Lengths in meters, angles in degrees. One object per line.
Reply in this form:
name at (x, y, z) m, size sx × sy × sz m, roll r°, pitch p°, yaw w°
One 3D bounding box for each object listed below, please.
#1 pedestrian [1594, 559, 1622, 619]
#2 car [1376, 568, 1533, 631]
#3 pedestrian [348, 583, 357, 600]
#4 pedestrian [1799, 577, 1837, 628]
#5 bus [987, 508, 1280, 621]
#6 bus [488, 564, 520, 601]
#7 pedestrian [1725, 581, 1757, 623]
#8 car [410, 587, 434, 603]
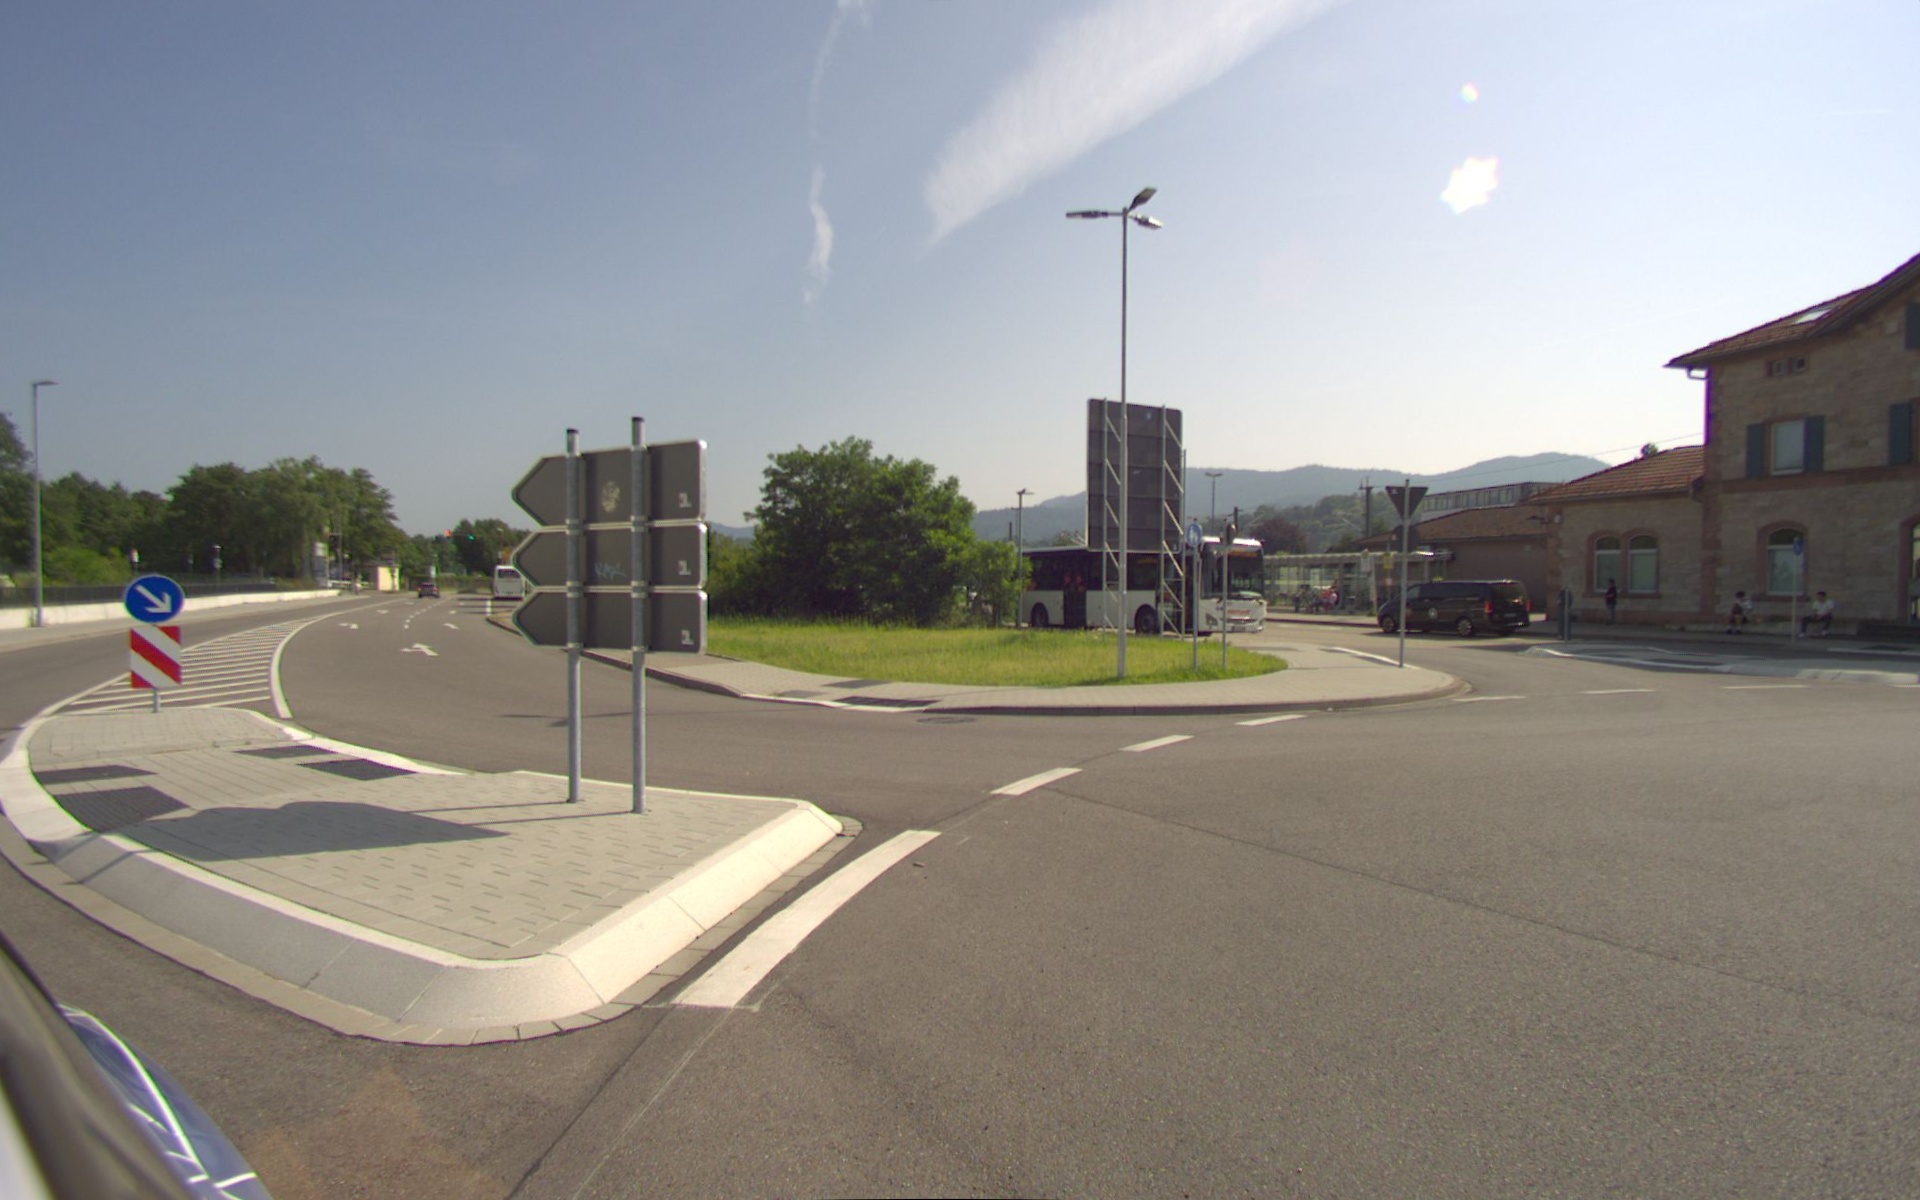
pedestrian at (22.227, -0.389, 34.706) m, size 0.522 × 2.029 × 0.578 m, roll 0°, pitch 1°, yaw -4°
car at (16.708, -0.064, 34.504) m, size 1.813 × 1.960 × 4.898 m, roll 0°, pitch 1°, yaw -20°
pedestrian at (-60.732, -0.852, 101.152) m, size 0.700 × 1.683 × 0.595 m, roll 0°, pitch 1°, yaw -31°
pedestrian at (23.552, 0.064, 27.790) m, size 0.557 × 1.359 × 0.554 m, roll 0°, pitch 1°, yaw -19°
bus at (5.219, -1.052, 34.130) m, size 3.022 × 3.147 × 11.758 m, roll -1°, pitch 1°, yaw -29°
bus at (-43.406, -1.675, 96.189) m, size 2.583 × 3.335 × 11.997 m, roll 0°, pitch 1°, yaw -25°
pedestrian at (22.944, 0.061, 29.742) m, size 0.435 × 1.213 × 0.586 m, roll 0°, pitch 1°, yaw -22°
car at (-52.057, -0.528, 97.990) m, size 1.747 × 1.484 × 4.234 m, roll 0°, pitch 1°, yaw -24°
